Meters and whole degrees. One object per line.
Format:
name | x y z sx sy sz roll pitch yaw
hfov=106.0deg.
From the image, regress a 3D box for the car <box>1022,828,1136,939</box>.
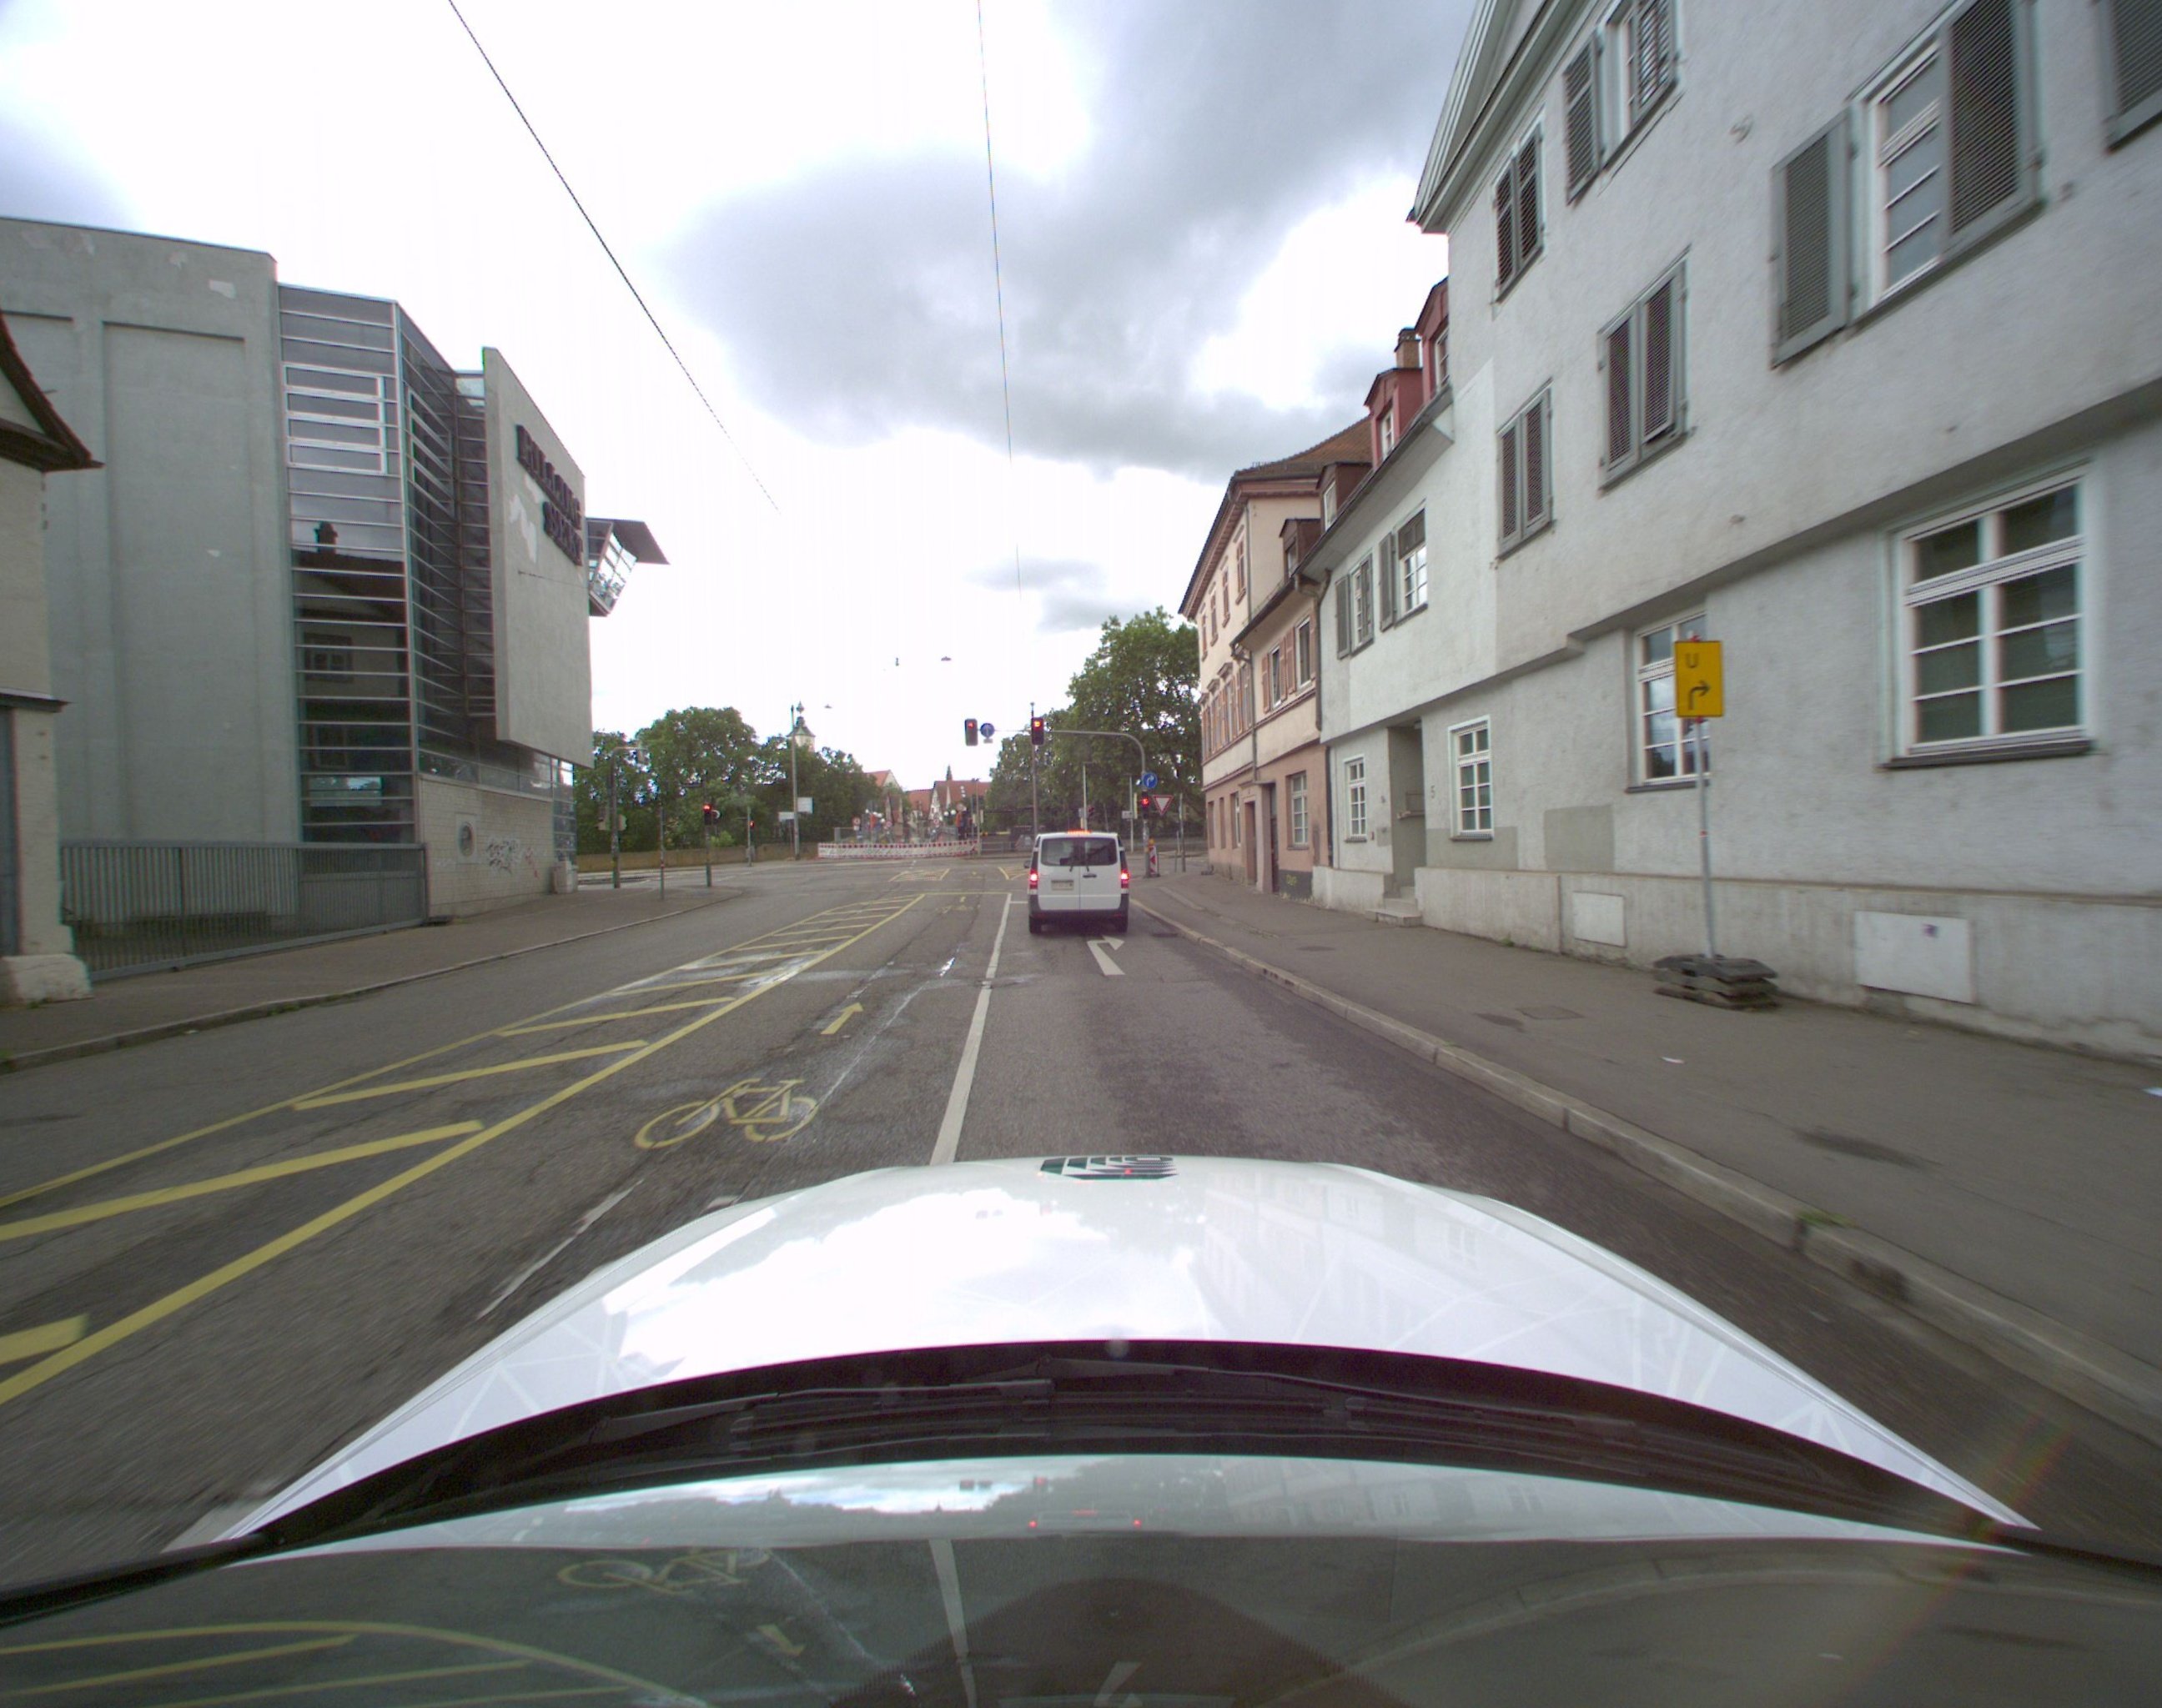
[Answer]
car | -0.177 0.488 16.554 1.990 1.923 4.242 -1 1 -4
